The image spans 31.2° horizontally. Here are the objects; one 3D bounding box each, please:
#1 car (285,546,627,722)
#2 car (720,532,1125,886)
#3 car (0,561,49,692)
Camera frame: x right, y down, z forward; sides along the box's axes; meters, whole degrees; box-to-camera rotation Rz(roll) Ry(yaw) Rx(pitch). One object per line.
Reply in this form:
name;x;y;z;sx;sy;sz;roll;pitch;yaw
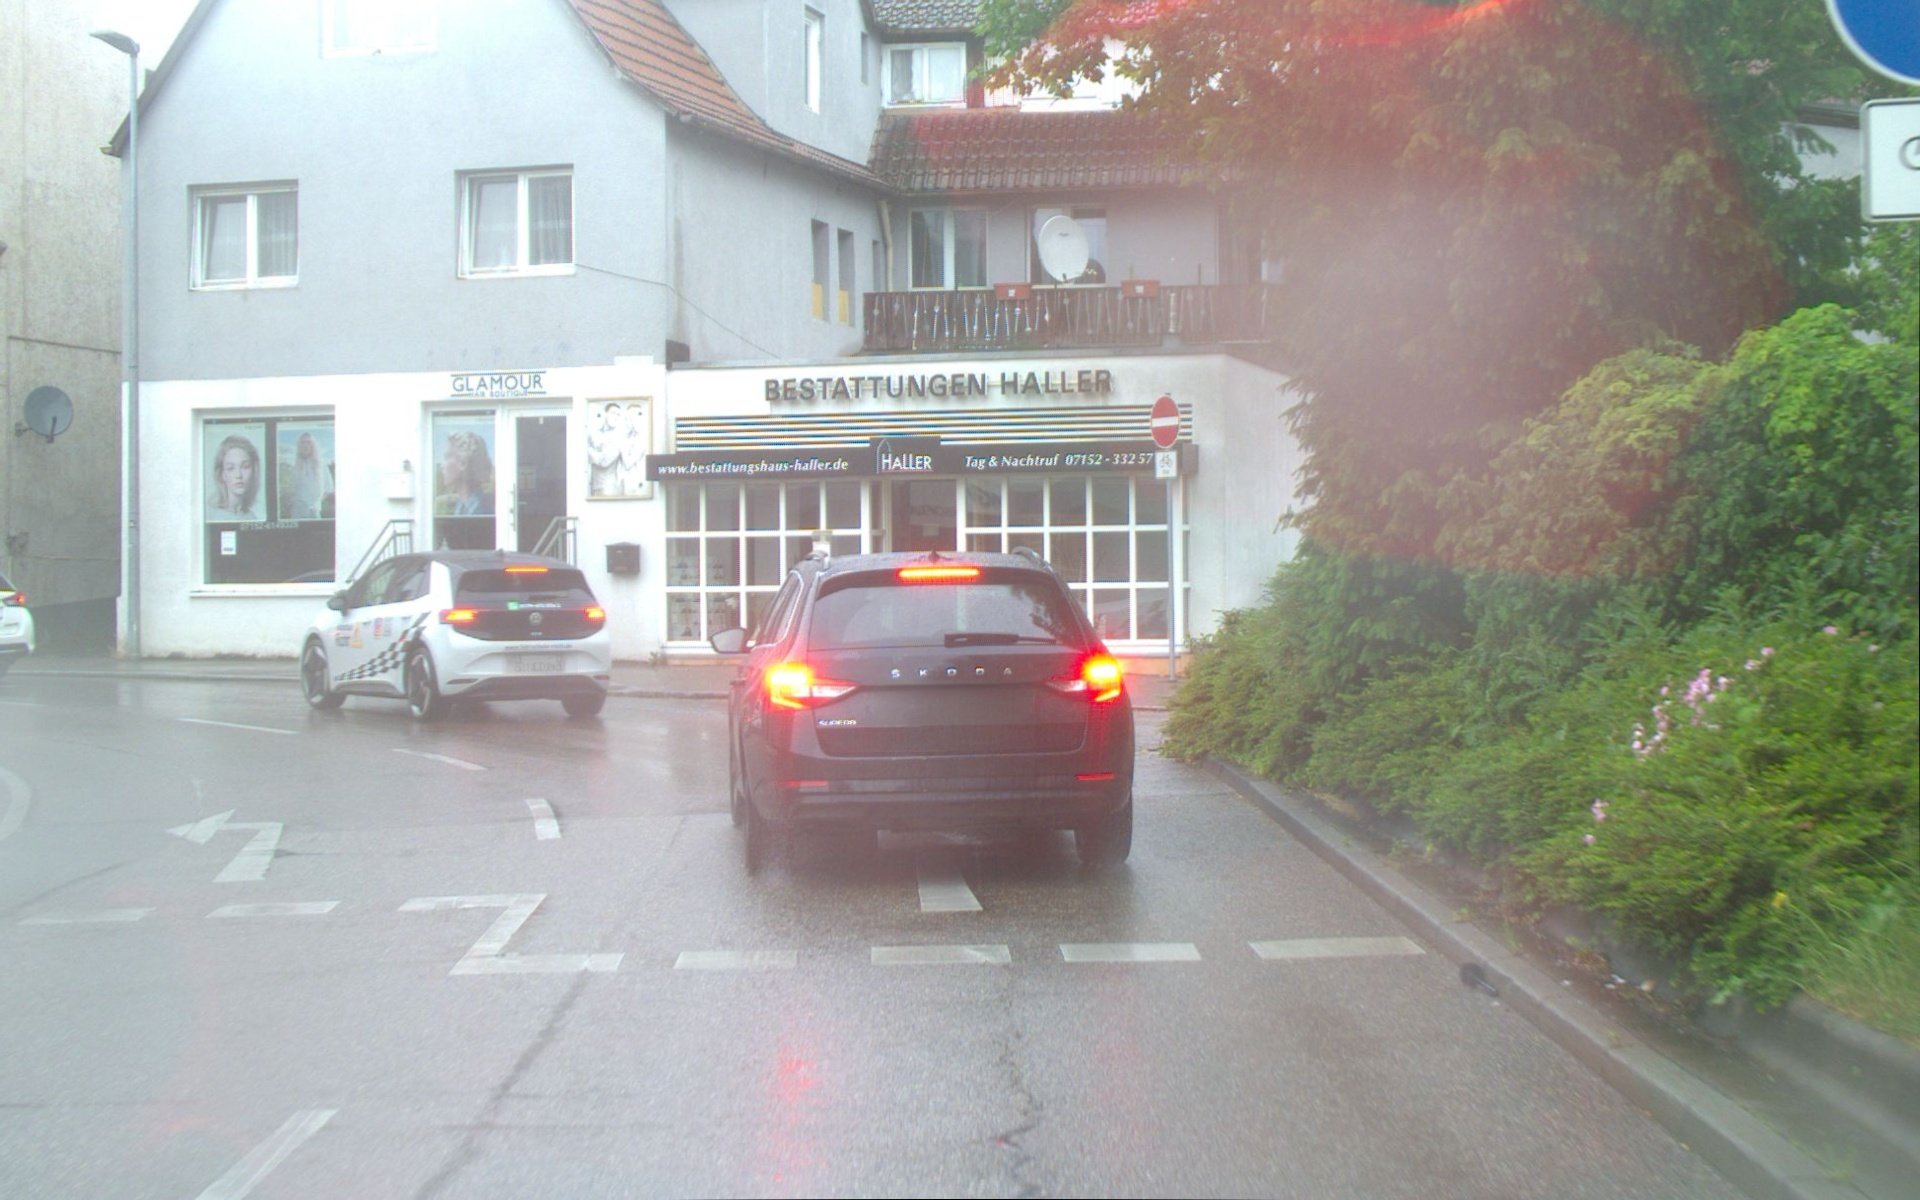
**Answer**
car;-4.855;0.266;32.659;1.789;1.512;4.241;-2;2;-29
car;-0.258;0.428;16.940;1.732;1.445;4.242;-1;2;-3
car;-12.628;0.280;39.900;4.159;1.460;1.787;1;3;37
